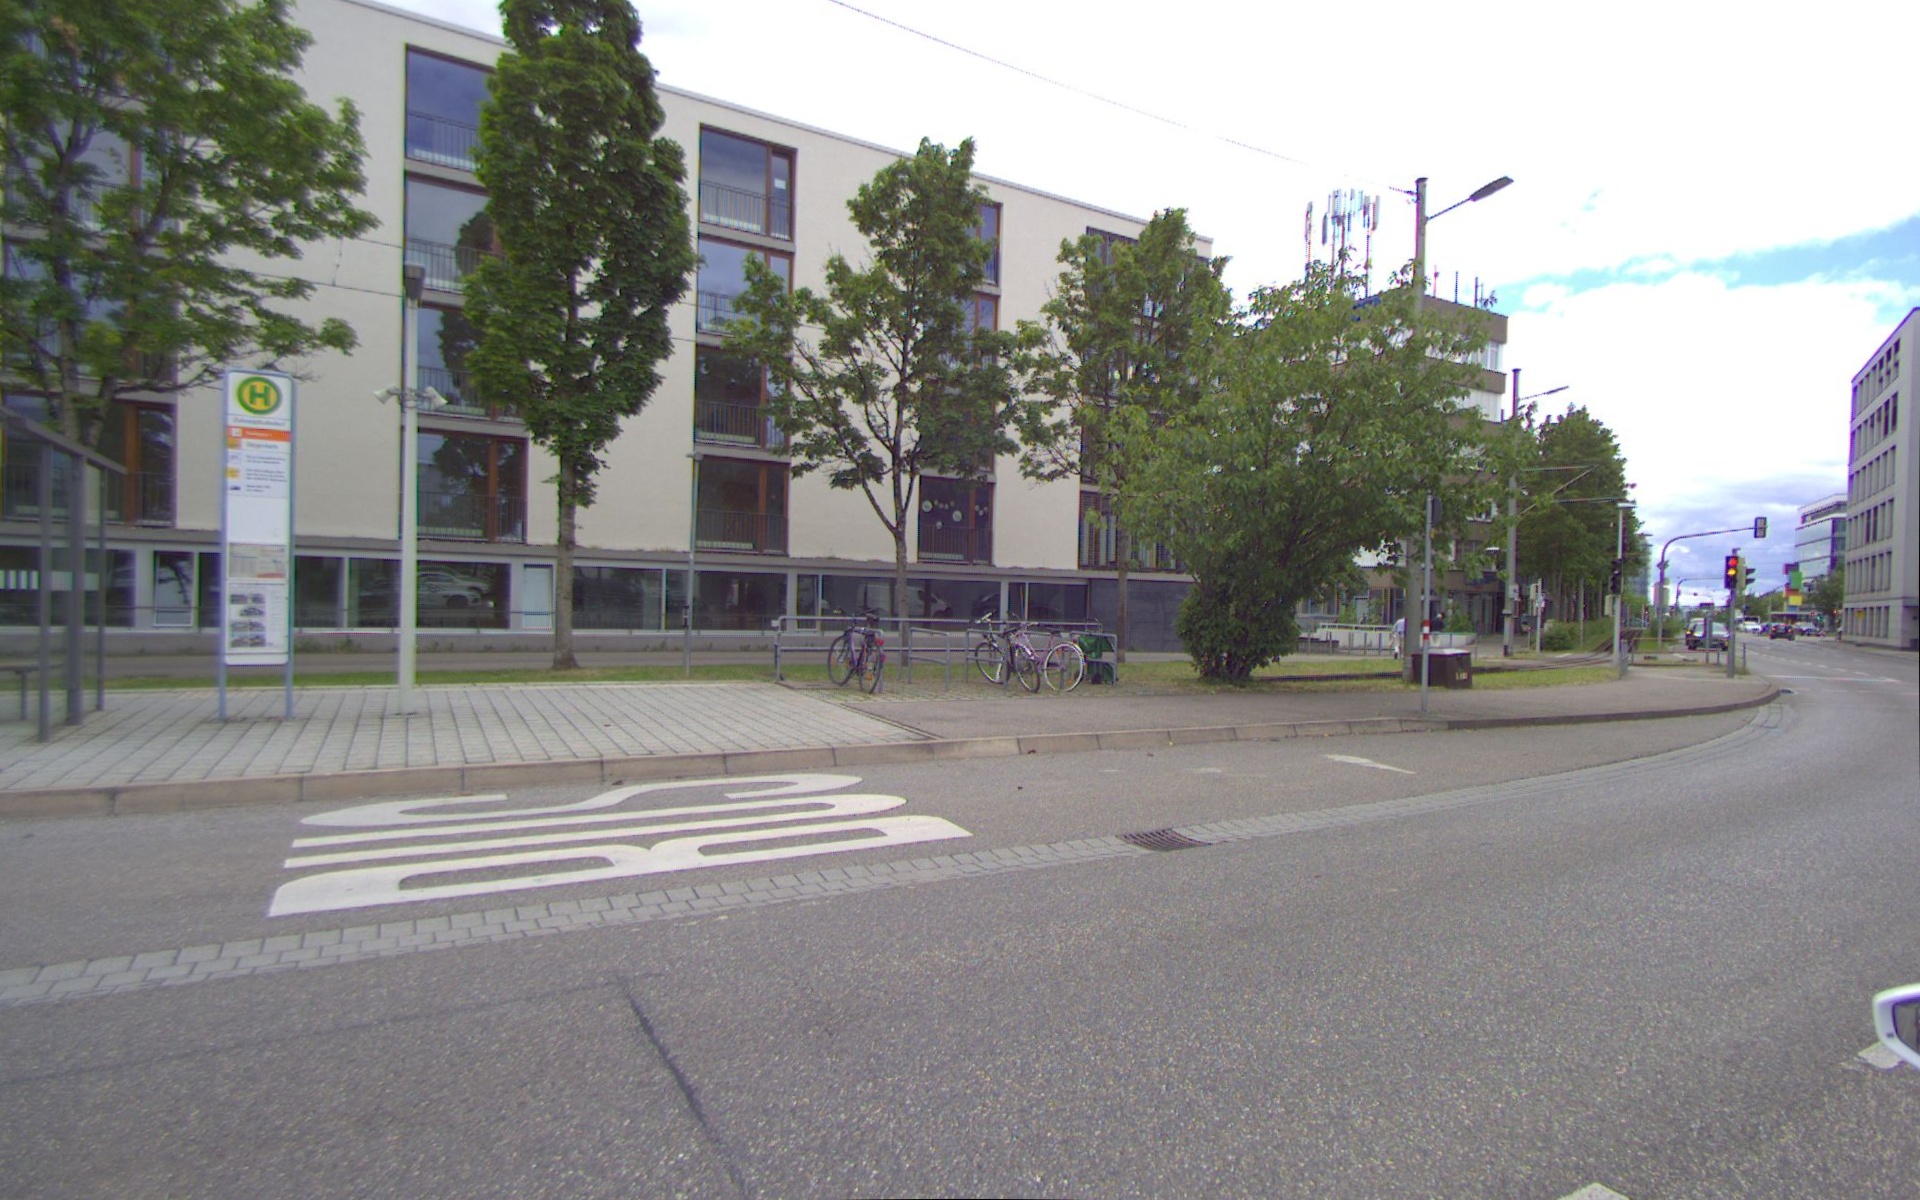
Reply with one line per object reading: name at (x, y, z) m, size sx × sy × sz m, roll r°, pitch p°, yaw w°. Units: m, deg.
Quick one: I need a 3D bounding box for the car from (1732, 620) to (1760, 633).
car at (104.541, 3.552, 133.639) m, size 1.961 × 1.599 × 3.998 m, roll 1°, pitch 0°, yaw 23°

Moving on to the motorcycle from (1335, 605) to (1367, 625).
motorcycle at (25.097, 0.960, 64.412) m, size 0.563 × 1.215 × 1.863 m, roll 1°, pitch 0°, yaw -39°

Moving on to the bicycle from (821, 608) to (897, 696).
bicycle at (-1.387, 0.672, 13.577) m, size 0.391 × 1.039 × 1.680 m, roll 1°, pitch 2°, yaw -28°

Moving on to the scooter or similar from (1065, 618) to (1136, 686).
scooter or similar at (2.234, 0.819, 15.986) m, size 0.767 × 1.023 × 0.781 m, roll 1°, pitch 0°, yaw -38°

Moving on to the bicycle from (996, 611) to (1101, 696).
bicycle at (1.278, 0.759, 14.860) m, size 0.405 × 1.103 × 1.689 m, roll 1°, pitch 2°, yaw -42°

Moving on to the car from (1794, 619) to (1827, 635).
car at (103.296, 3.269, 122.025) m, size 1.961 × 1.877 × 3.998 m, roll 2°, pitch 0°, yaw 23°

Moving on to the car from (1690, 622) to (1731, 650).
car at (42.107, 2.023, 56.431) m, size 1.745 × 1.498 × 3.986 m, roll -1°, pitch -2°, yaw 36°

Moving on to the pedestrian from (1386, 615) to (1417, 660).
pedestrian at (15.349, 1.299, 34.935) m, size 0.836 × 1.547 × 0.993 m, roll 0°, pitch -1°, yaw 33°

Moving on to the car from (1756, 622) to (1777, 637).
car at (92.015, 3.309, 114.567) m, size 1.737 × 1.630 × 4.171 m, roll 2°, pitch 0°, yaw 38°

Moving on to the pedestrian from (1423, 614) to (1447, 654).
pedestrian at (20.758, 1.469, 43.872) m, size 0.674 × 1.728 × 0.684 m, roll 1°, pitch -1°, yaw -29°

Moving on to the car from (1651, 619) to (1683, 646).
car at (49.684, 2.300, 70.621) m, size 1.658 × 1.832 × 4.340 m, roll -1°, pitch -2°, yaw 33°

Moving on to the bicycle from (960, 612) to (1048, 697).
bicycle at (0.608, 0.754, 14.484) m, size 0.403 × 1.060 × 1.741 m, roll 1°, pitch 2°, yaw -28°

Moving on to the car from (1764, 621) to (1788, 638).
car at (81.295, 2.924, 100.133) m, size 1.737 × 1.630 × 4.171 m, roll 2°, pitch 0°, yaw 38°
